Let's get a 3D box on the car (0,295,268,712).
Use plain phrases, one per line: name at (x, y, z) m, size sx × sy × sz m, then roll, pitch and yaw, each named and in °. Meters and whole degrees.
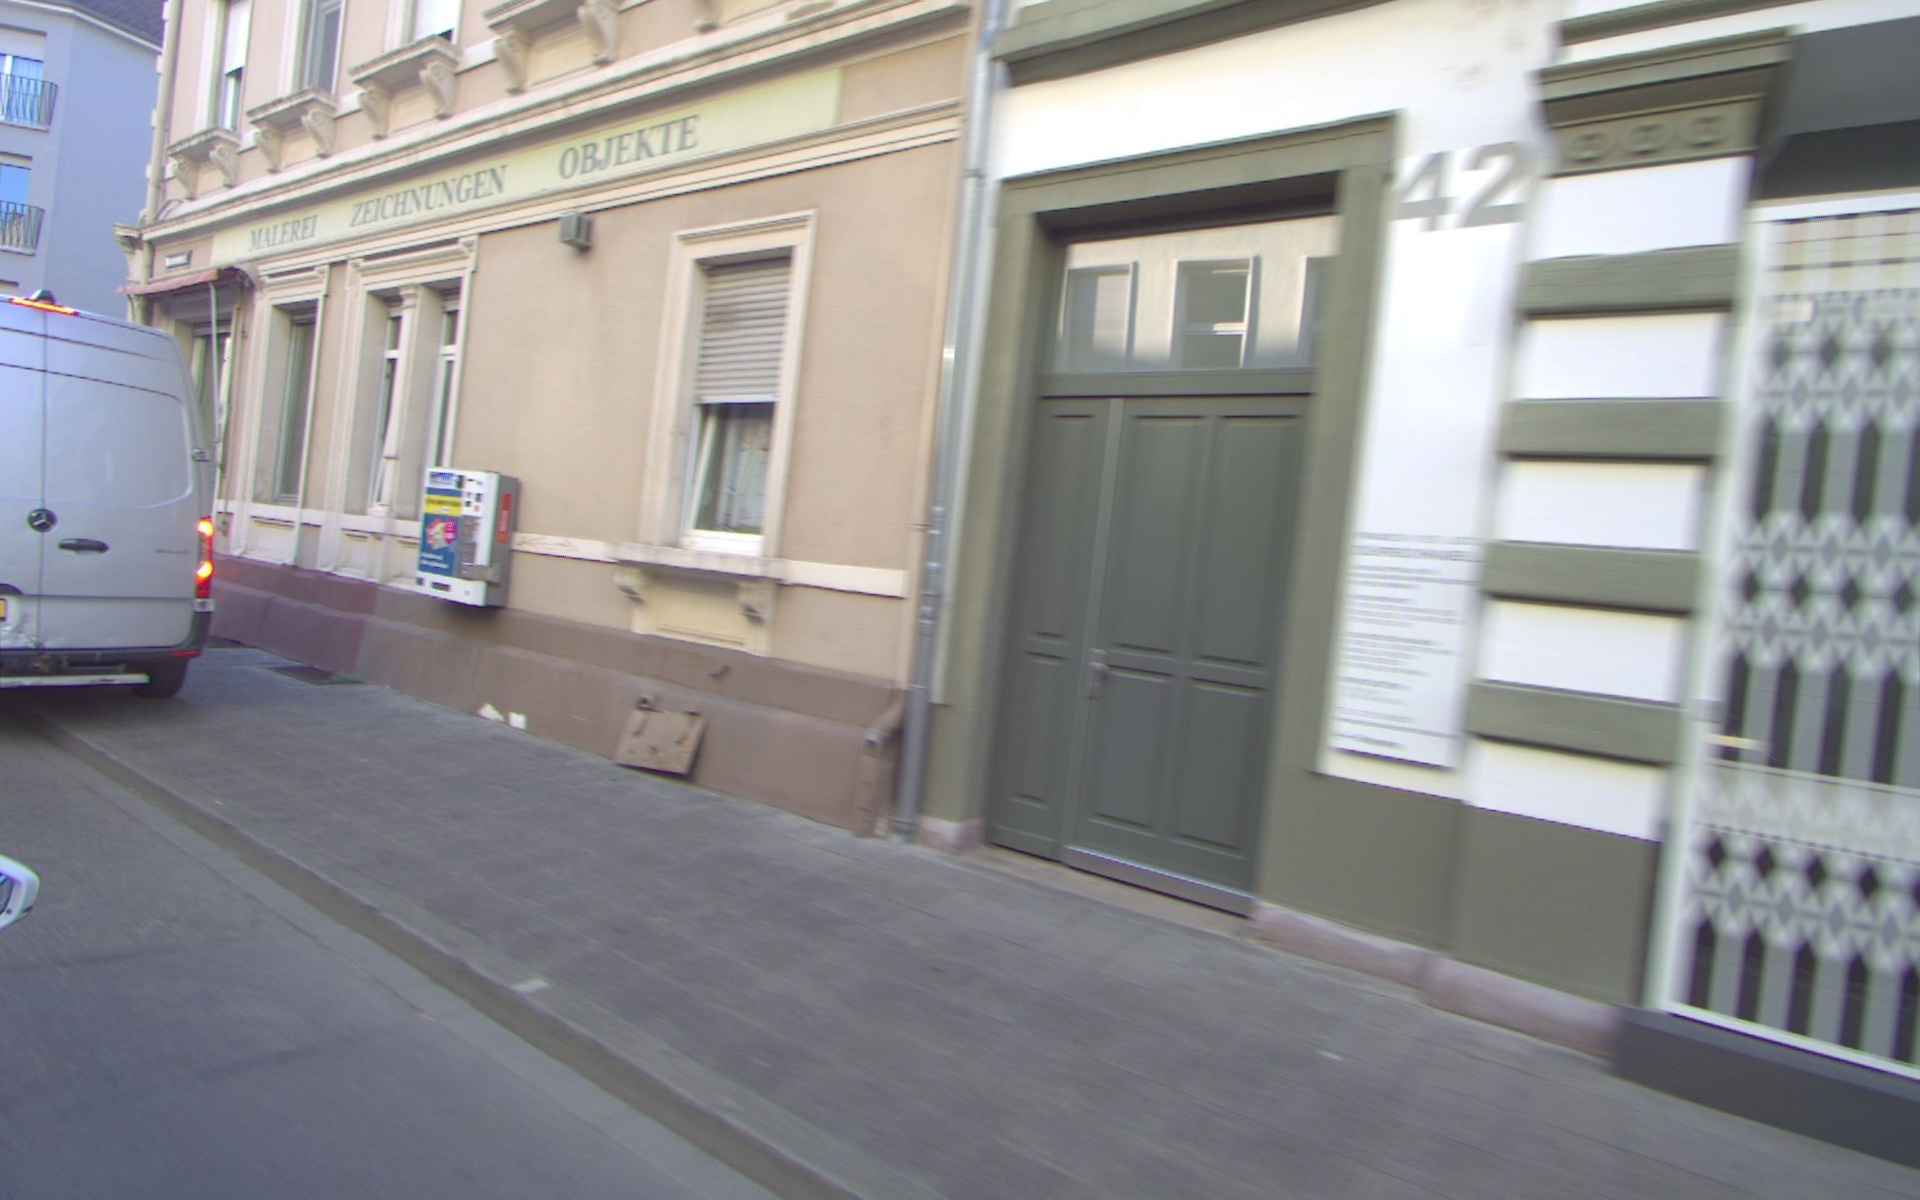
car at (-8.091, -0.843, 7.916) m, size 6.107 × 2.469 × 2.278 m, roll 7°, pitch 0°, yaw 36°
